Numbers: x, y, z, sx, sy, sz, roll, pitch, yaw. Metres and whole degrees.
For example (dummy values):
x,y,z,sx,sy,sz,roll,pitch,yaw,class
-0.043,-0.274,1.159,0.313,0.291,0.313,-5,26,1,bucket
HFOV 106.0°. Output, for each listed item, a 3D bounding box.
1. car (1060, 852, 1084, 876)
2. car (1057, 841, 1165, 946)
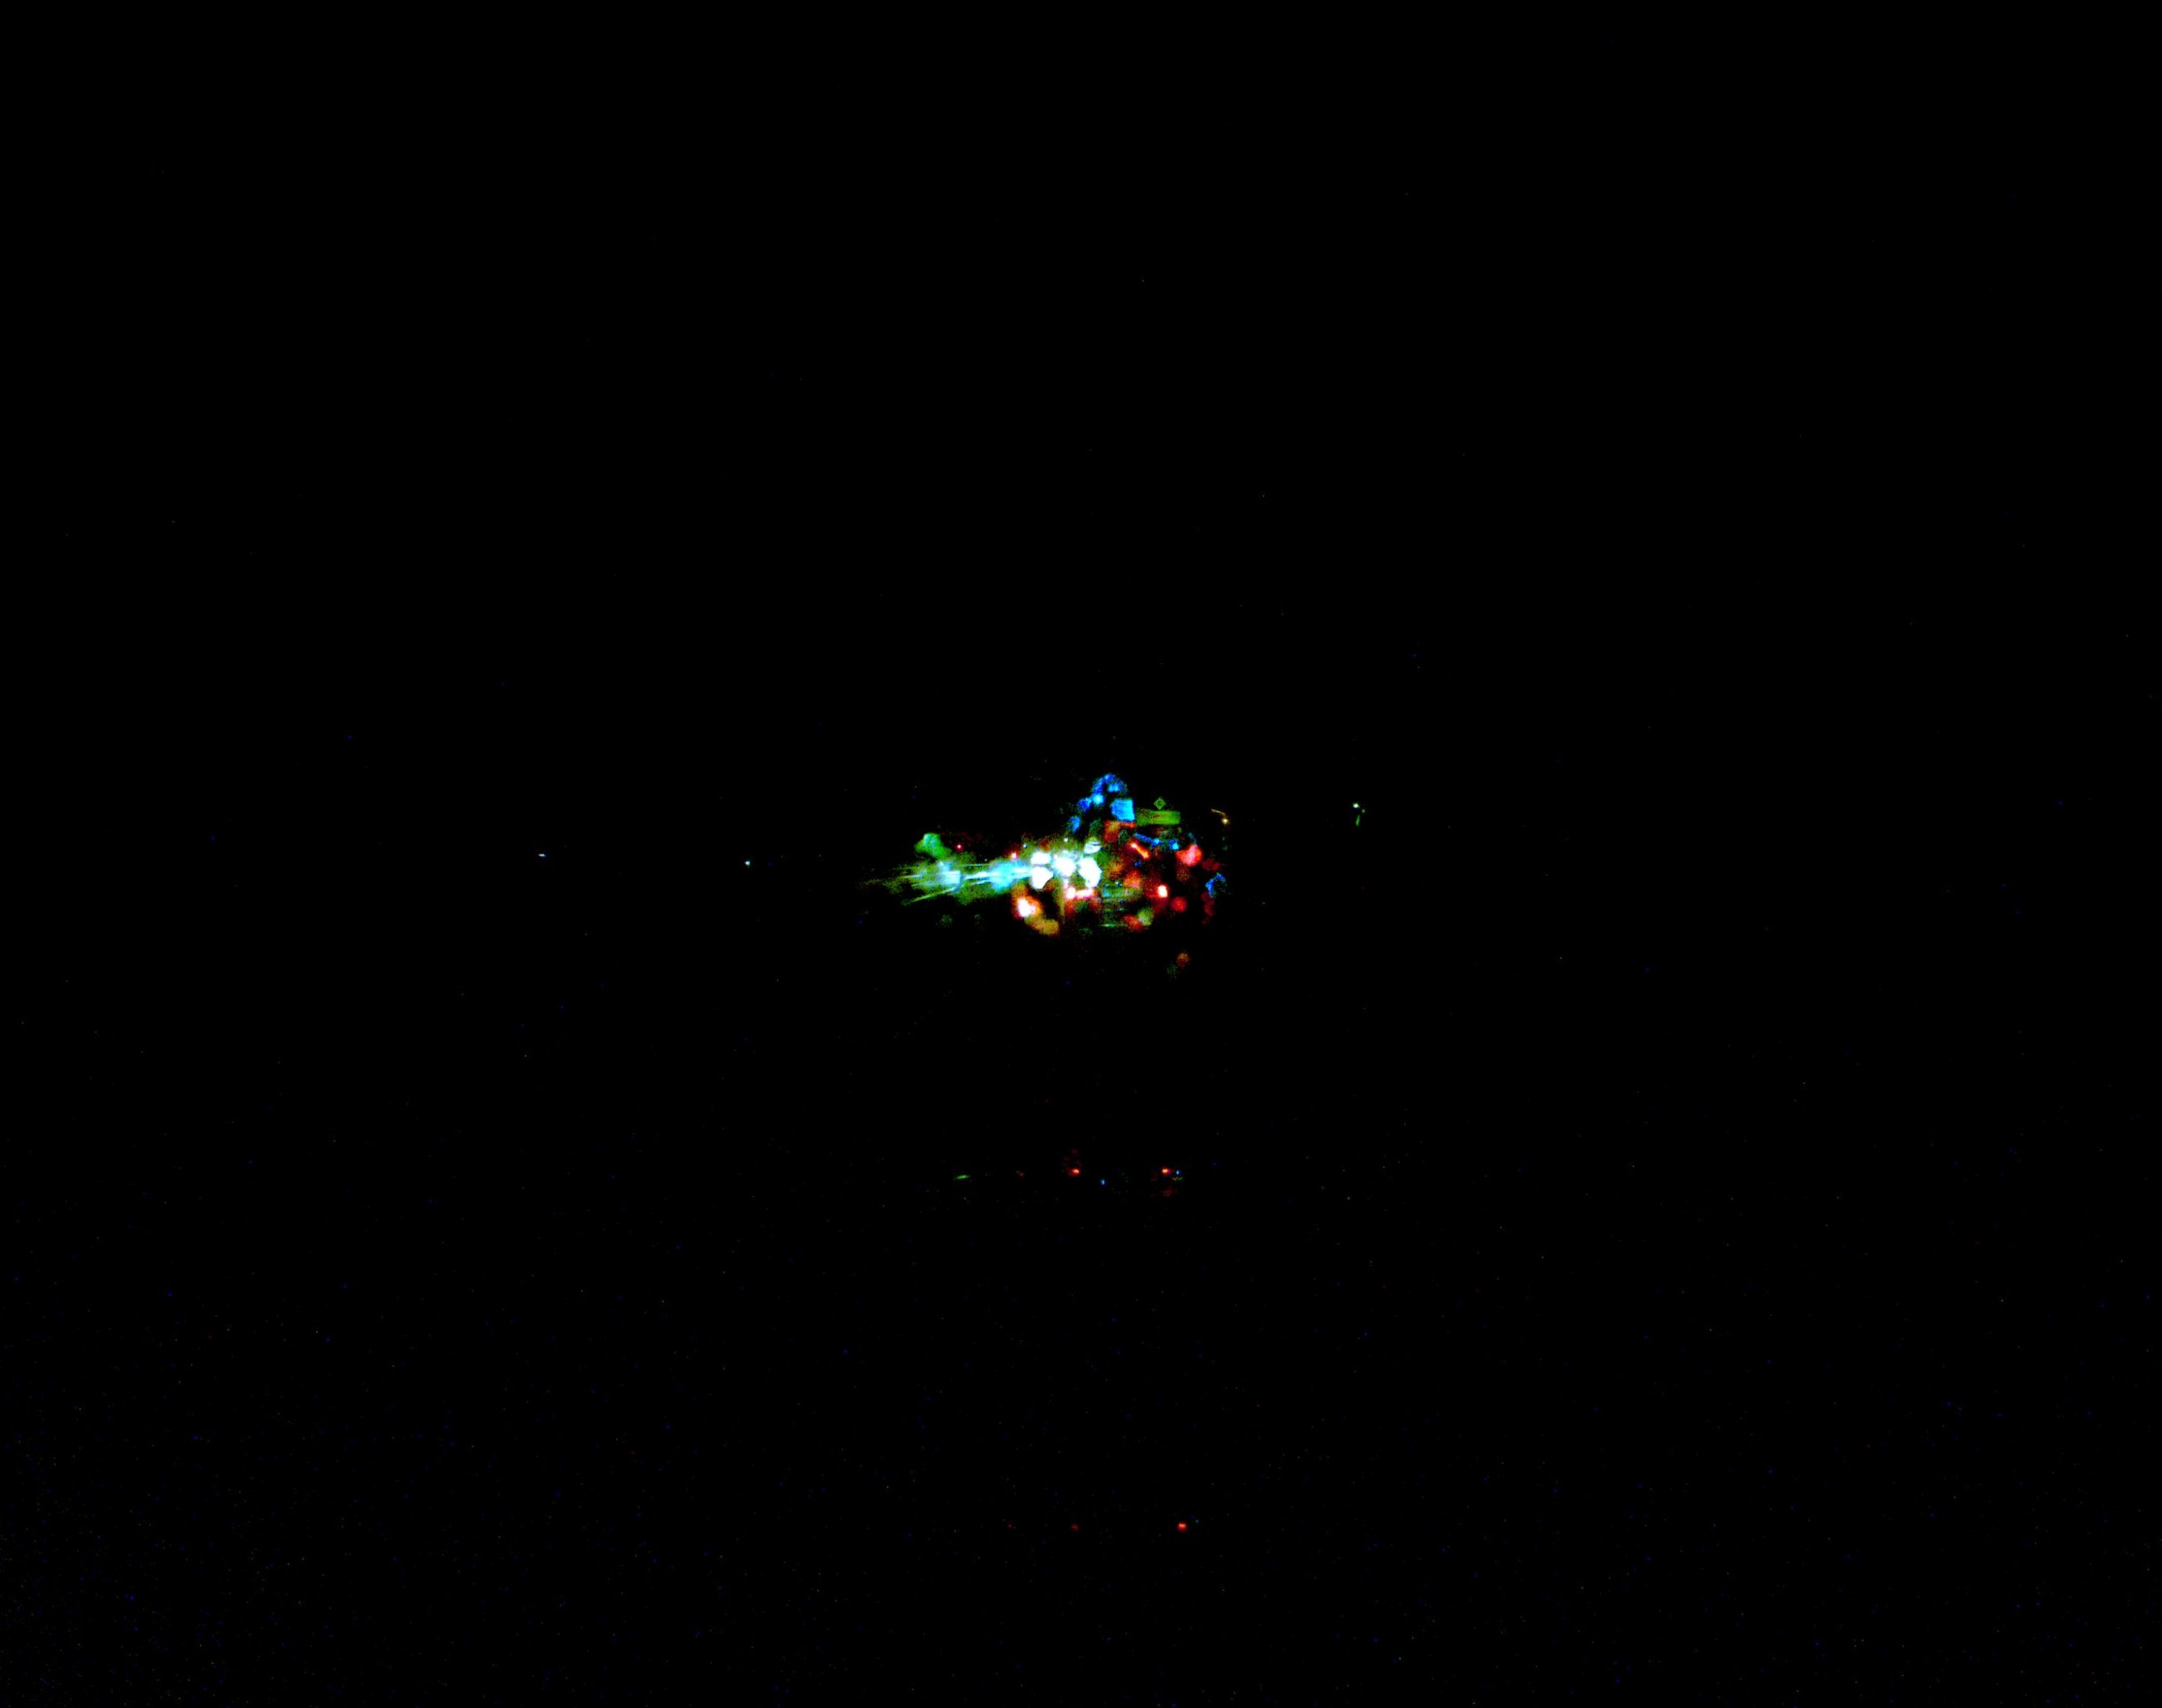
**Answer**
x,y,z,sx,sy,sz,roll,pitch,yaw,class
-0.852,0.945,74.916,1.989,2.014,3.995,-2,-3,-3,car
0.524,0.662,15.449,1.769,1.712,4.000,-1,-1,1,car
